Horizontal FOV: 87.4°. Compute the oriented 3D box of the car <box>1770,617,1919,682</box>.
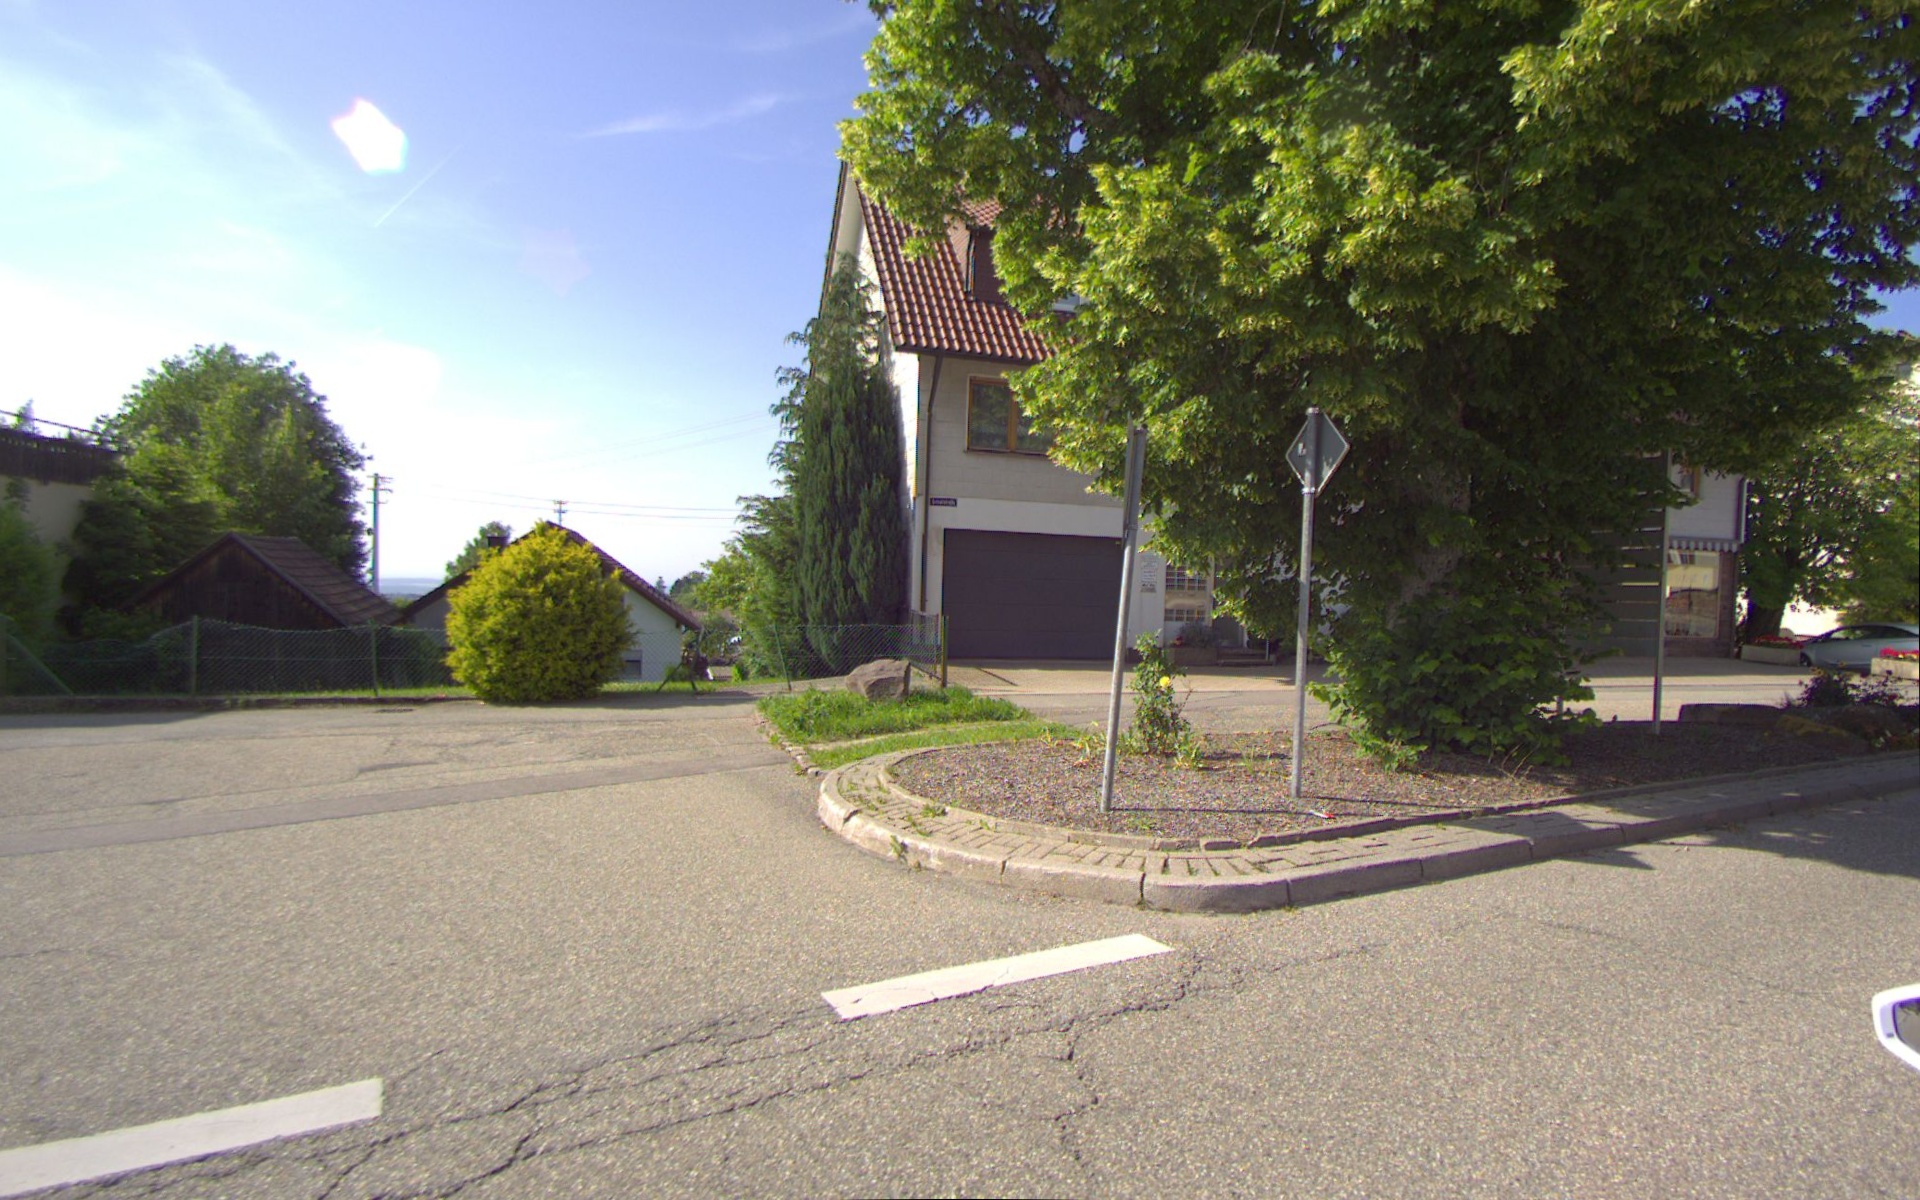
[{"bbox_3d":[23.338,1.263,25.627,1.790,1.472,3.757,6,-3,-17],"label":"car"}]
